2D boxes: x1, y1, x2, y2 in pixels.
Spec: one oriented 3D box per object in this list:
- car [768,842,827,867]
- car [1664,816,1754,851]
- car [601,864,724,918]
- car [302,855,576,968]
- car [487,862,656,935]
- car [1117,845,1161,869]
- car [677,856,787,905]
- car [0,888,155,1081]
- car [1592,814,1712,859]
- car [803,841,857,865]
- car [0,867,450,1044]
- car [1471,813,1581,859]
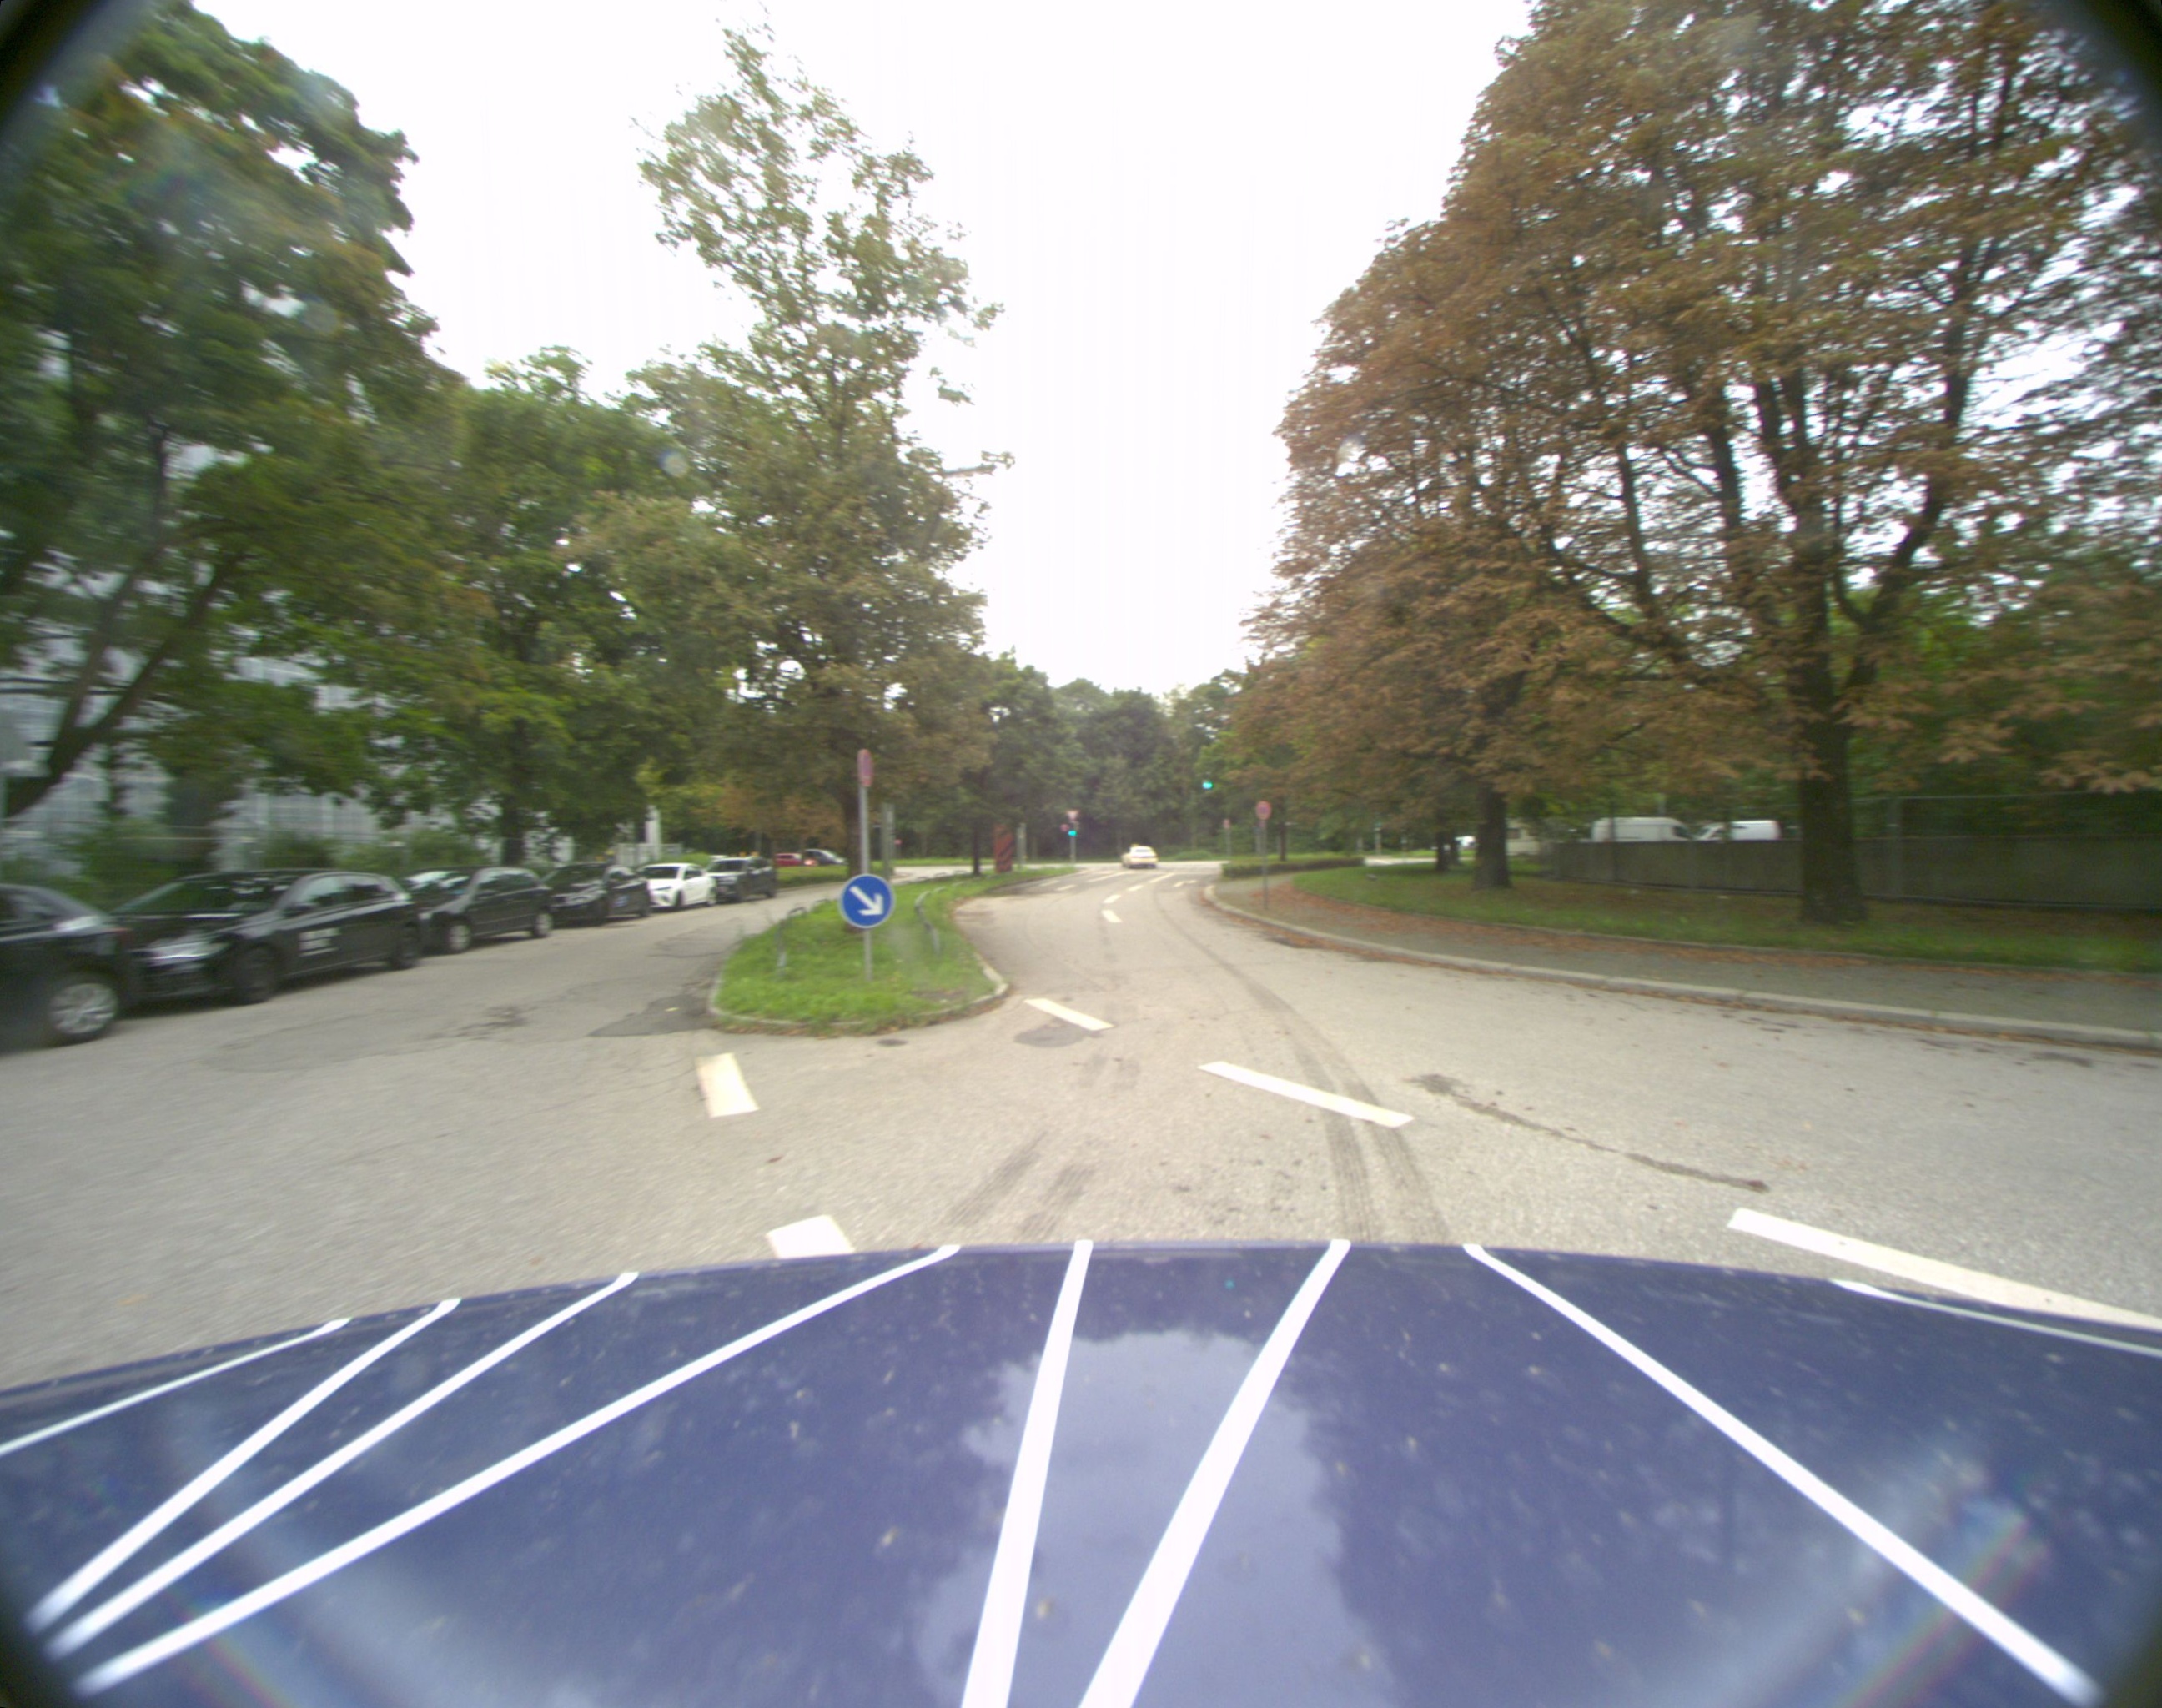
[{"bbox_3d":[-23.733,0.013,63.711,4.151,2.002,2.001,-1,1,9],"label":"car"},{"bbox_3d":[49.629,-1.596,60.185,5.126,2.566,2.079,-1,1,15],"label":"car"},{"bbox_3d":[-12.574,1.046,23.153,1.802,1.375,4.215,-2,0,-7],"label":"car"},{"bbox_3d":[-11.137,0.881,13.633,2.000,1.696,3.996,0,0,-10],"label":"car"},{"bbox_3d":[-11.943,0.961,18.161,1.840,1.452,4.002,-2,0,-10],"label":"car"},{"bbox_3d":[3.921,0.190,52.267,1.894,1.536,4.848,-1,1,-10],"label":"car"},{"bbox_3d":[-12.575,0.922,27.729,1.890,1.596,4.397,-2,-1,1],"label":"car"},{"bbox_3d":[-9.153,1.030,4.811,2.000,1.424,4.039,1,0,-9],"label":"car"},{"bbox_3d":[34.587,-1.058,46.176,5.447,2.566,2.079,-1,1,14],"label":"car"},{"bbox_3d":[-21.943,-0.098,66.545,3.994,2.002,2.001,-1,1,9],"label":"car"},{"bbox_3d":[-9.974,0.984,9.124,2.000,1.532,3.995,-1,1,-12],"label":"car"},{"bbox_3d":[27.794,-1.124,47.645,5.586,2.718,2.079,-1,1,14],"label":"car"}]
